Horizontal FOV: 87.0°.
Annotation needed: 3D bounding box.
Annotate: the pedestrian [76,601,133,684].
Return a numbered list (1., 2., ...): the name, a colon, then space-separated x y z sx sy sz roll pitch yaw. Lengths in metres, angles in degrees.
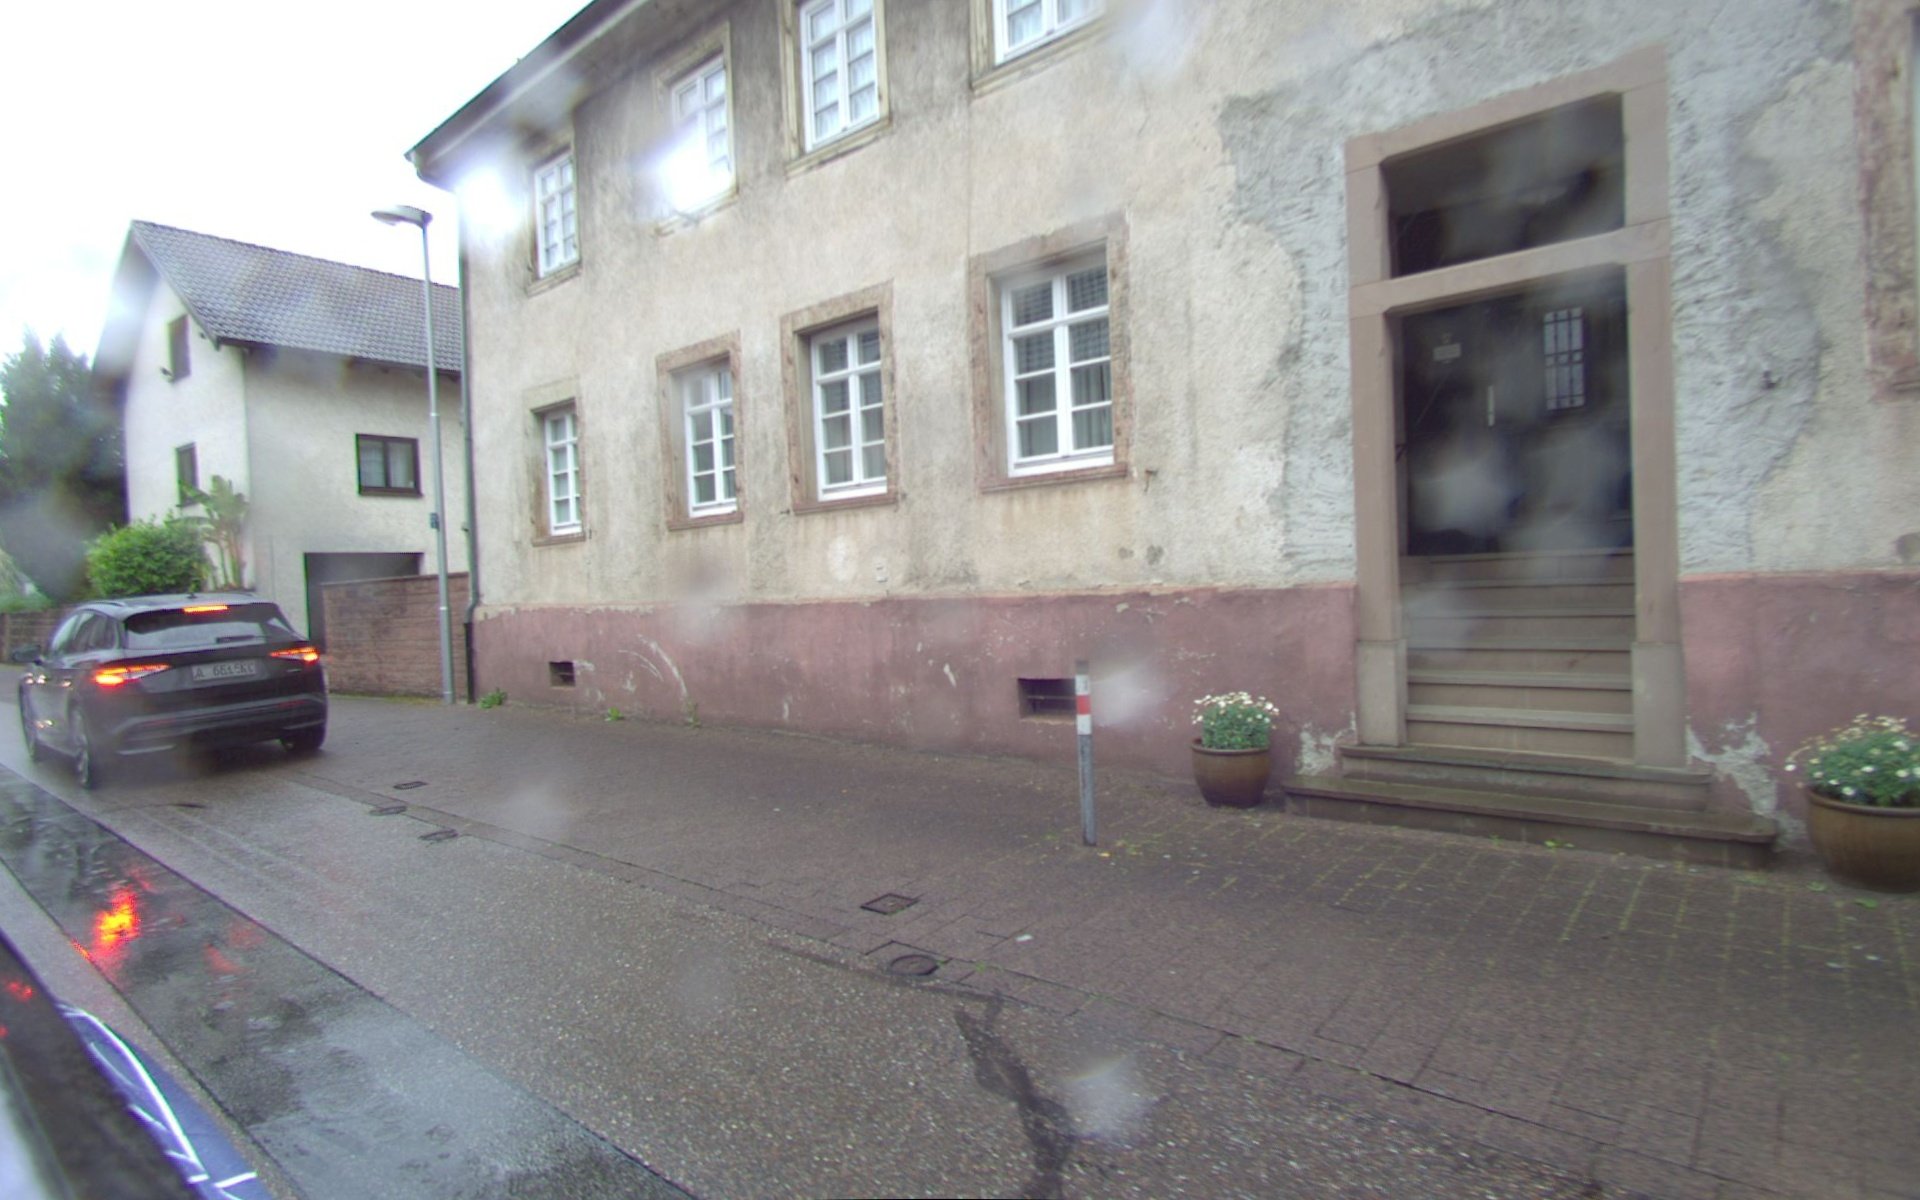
1. pedestrian: -16.806 0.828 19.883 0.831 1.549 0.567 -2 3 35

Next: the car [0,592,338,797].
1. car: -7.969 0.775 10.016 4.236 1.567 1.814 -1 1 40
